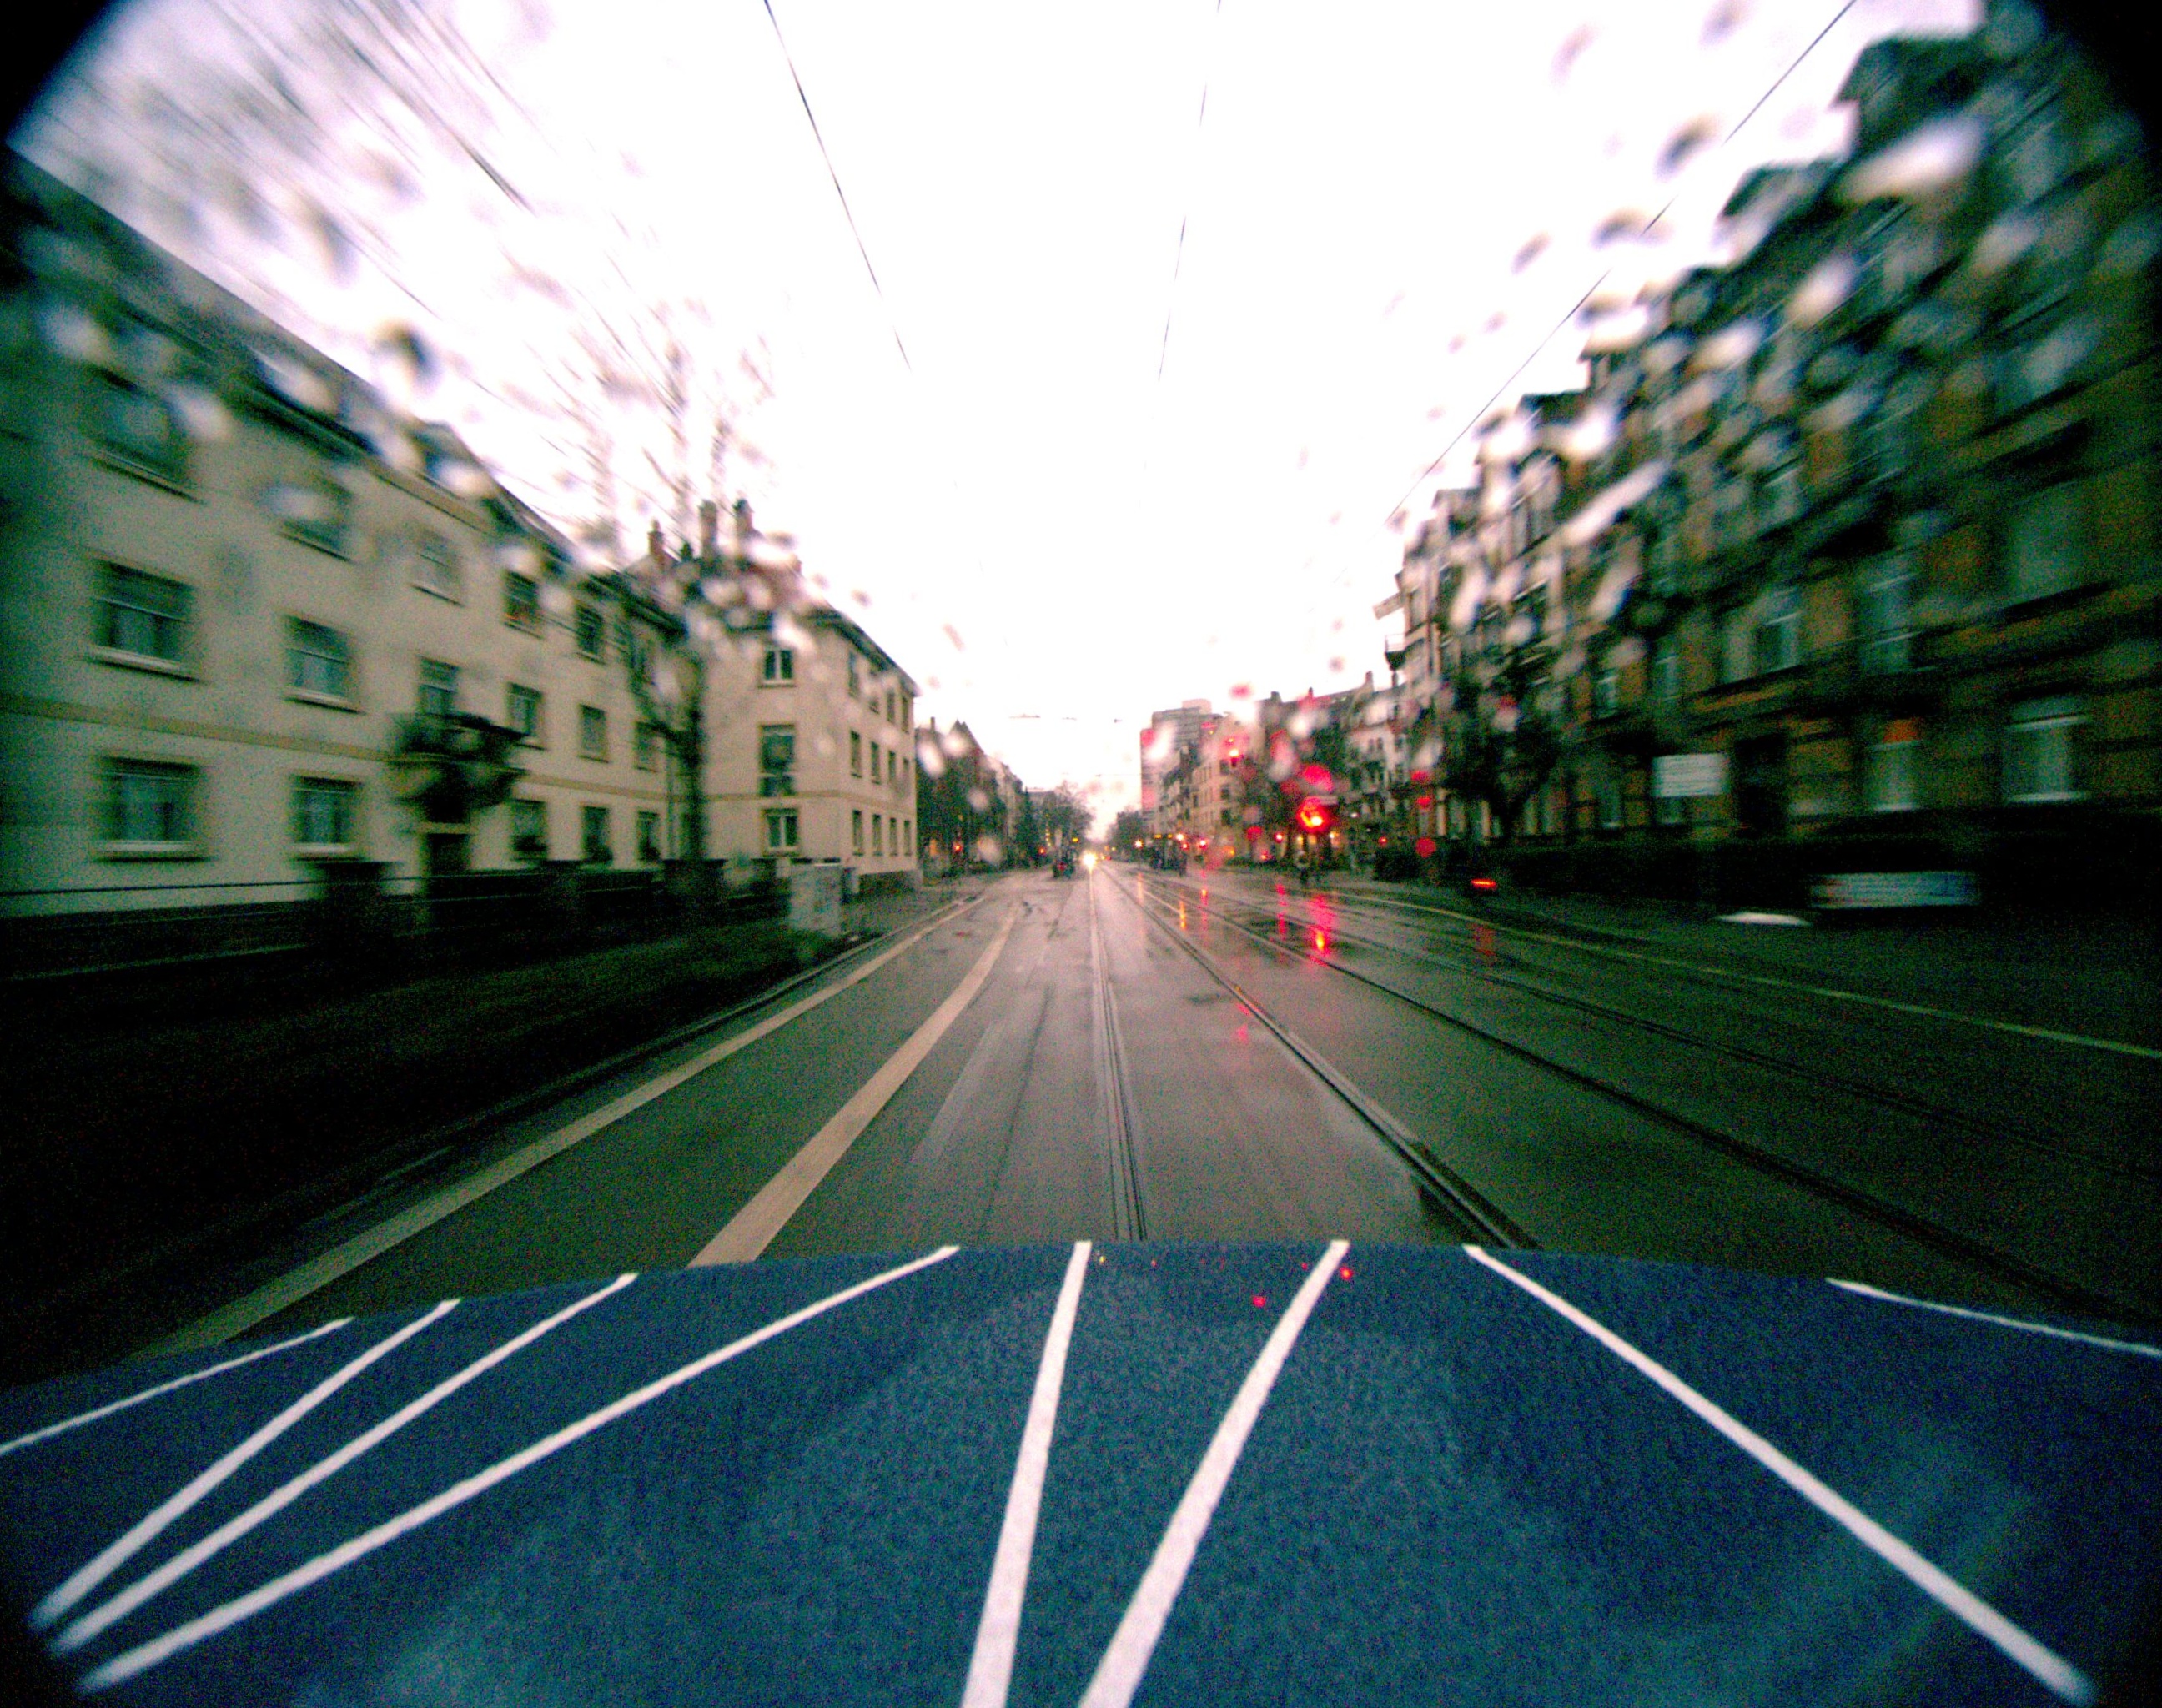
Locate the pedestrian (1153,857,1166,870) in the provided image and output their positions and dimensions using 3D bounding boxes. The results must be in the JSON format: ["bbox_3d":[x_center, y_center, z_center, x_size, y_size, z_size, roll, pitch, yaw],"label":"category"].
[{"bbox_3d":[7.455,0.902,72.264,1.058,1.247,0.506,-4,1,0],"label":"pedestrian"}]

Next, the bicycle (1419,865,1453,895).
[{"bbox_3d":[12.820,0.923,27.473,0.417,1.001,1.849,-1,0,2],"label":"bicycle"}]

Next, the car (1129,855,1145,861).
[{"bbox_3d":[13.745,1.009,186.265,3.839,1.405,1.727,0,0,1],"label":"car"}]

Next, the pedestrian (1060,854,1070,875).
[{"bbox_3d":[-1.289,0.859,61.750,0.659,1.698,0.571,-4,1,2],"label":"pedestrian"}]

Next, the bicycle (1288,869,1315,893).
[{"bbox_3d":[9.614,1.167,33.224,0.683,1.001,1.803,-1,0,2],"label":"bicycle"}]

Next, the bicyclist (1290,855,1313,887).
[{"bbox_3d":[9.586,0.724,33.099,0.706,1.356,0.944,-3,1,3],"label":"bicyclist"}]

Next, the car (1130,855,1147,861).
[{"bbox_3d":[13.893,1.017,183.588,3.839,1.405,1.727,-1,0,1],"label":"car"}]

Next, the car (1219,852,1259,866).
[{"bbox_3d":[18.517,0.557,89.142,4.334,1.574,1.940,-1,0,18],"label":"car"}]

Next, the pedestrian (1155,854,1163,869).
[{"bbox_3d":[7.560,0.716,73.542,0.685,1.395,0.578,-4,1,1],"label":"pedestrian"}]

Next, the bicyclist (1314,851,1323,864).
[{"bbox_3d":[25.436,0.370,81.286,0.531,1.356,0.764,-3,1,-24],"label":"bicyclist"}]

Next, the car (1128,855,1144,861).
[{"bbox_3d":[13.592,0.957,189.075,3.839,1.405,1.727,-4,0,1],"label":"car"}]

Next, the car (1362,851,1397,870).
[{"bbox_3d":[28.174,0.596,71.795,1.878,1.761,3.863,0,0,2],"label":"car"}]

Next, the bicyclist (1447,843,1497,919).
[{"bbox_3d":[8.551,0.570,16.642,0.685,1.606,0.765,-1,1,2],"label":"bicyclist"}]

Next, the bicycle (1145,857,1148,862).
[{"bbox_3d":[13.183,1.042,151.974,0.530,0.884,2.210,-4,0,5],"label":"bicycle"}]

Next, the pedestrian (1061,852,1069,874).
[{"bbox_3d":[-1.331,0.781,64.647,0.558,1.797,0.571,-4,1,2],"label":"pedestrian"}]

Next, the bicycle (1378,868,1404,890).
[{"bbox_3d":[13.148,1.044,32.301,0.400,0.857,1.849,-1,0,2],"label":"bicycle"}]

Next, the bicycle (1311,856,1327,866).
[{"bbox_3d":[25.472,0.753,81.291,0.493,1.001,1.807,-1,0,-24],"label":"bicycle"}]

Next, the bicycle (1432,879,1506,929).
[{"bbox_3d":[8.566,1.080,16.868,0.680,0.966,1.933,-1,0,2],"label":"bicycle"}]

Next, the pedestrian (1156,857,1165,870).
[{"bbox_3d":[7.503,0.900,71.659,0.654,1.211,0.517,-4,1,1],"label":"pedestrian"}]

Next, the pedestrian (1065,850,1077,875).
[{"bbox_3d":[-0.778,0.639,59.333,0.689,1.906,0.717,-4,1,-10],"label":"pedestrian"}]

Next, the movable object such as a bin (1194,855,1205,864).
[{"bbox_3d":[17.620,0.810,113.267,1.352,1.364,1.281,-4,0,0],"label":"movable object such as a bin"}]
